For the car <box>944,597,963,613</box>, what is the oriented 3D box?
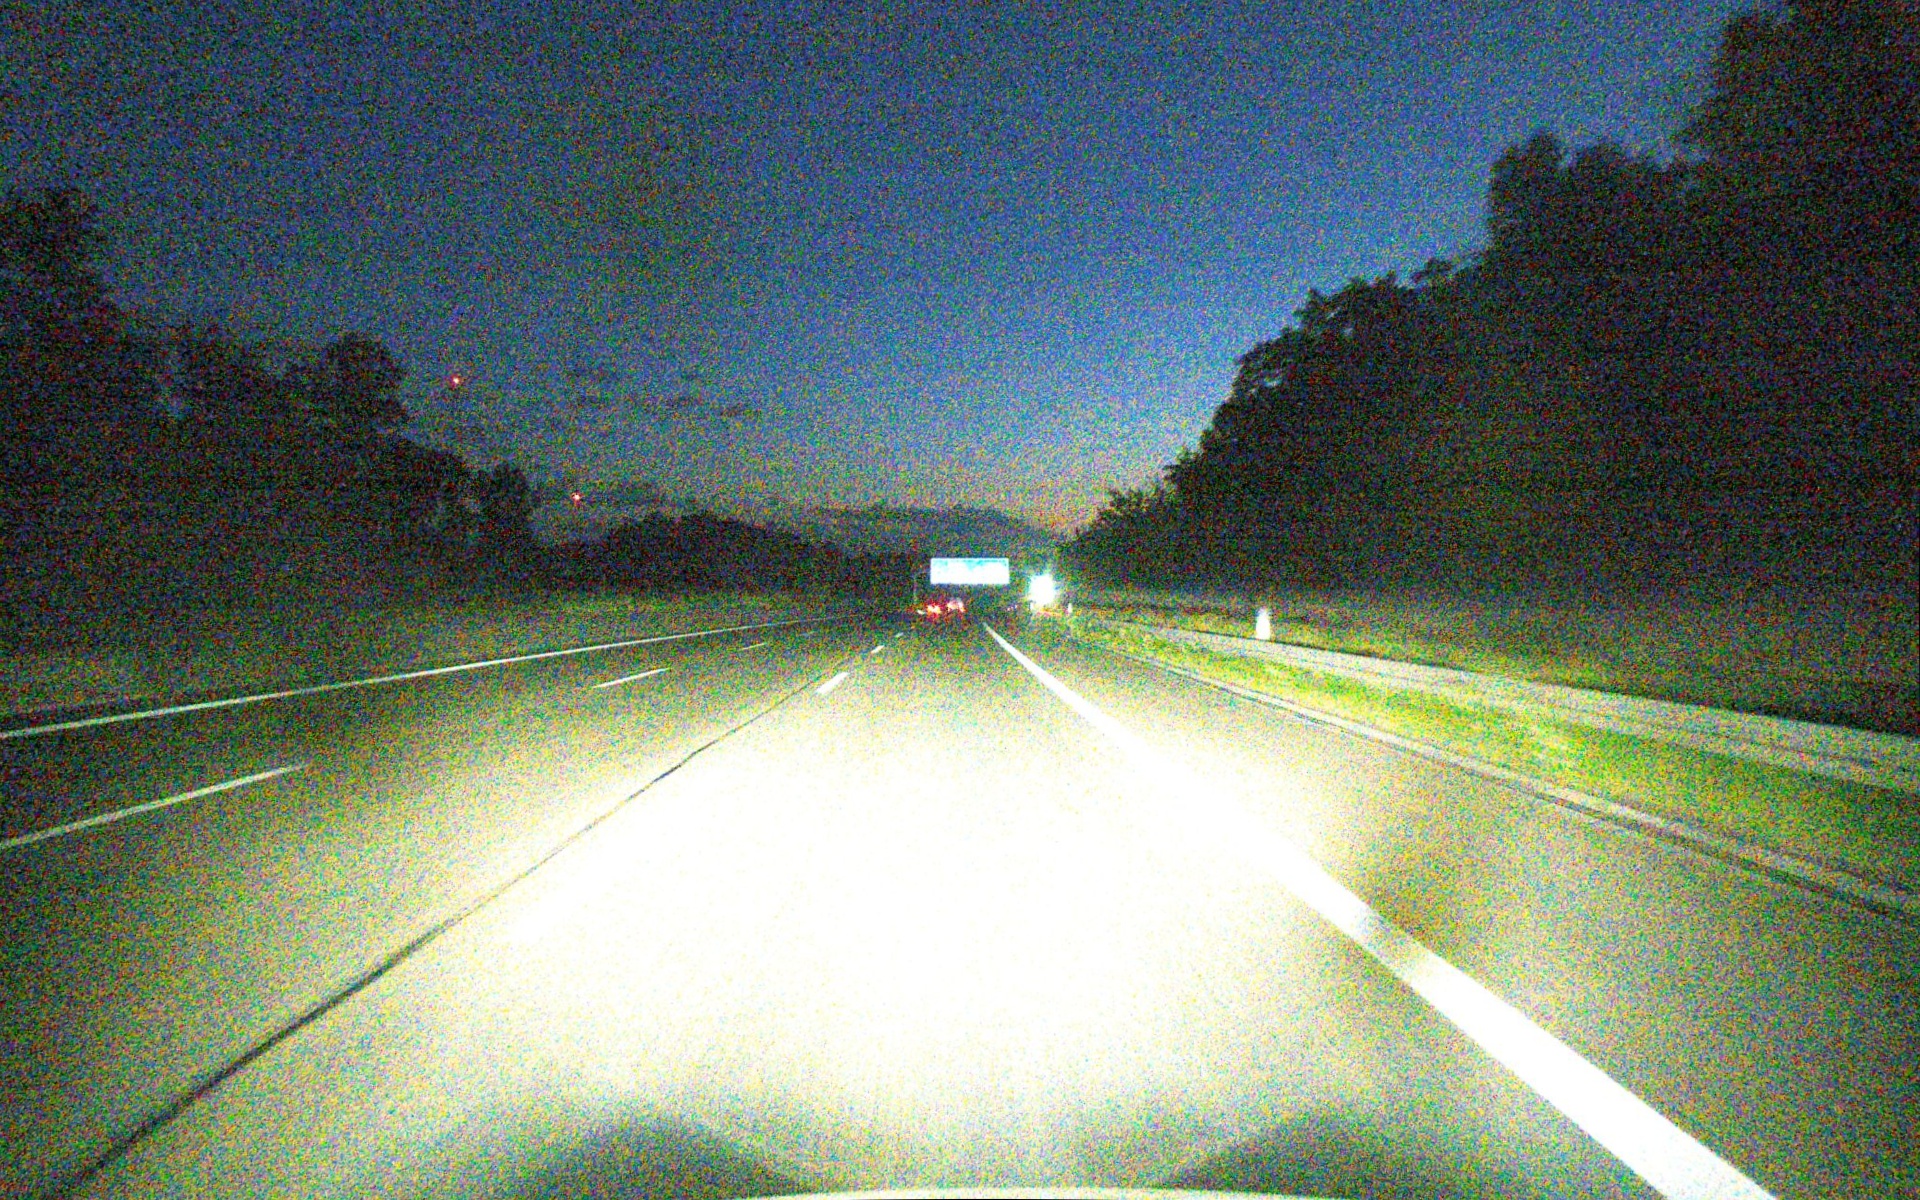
[{"bbox_3d":[-0.969,0.803,254.416,2.458,2.354,4.972,0,-1,4],"label":"car"}]
